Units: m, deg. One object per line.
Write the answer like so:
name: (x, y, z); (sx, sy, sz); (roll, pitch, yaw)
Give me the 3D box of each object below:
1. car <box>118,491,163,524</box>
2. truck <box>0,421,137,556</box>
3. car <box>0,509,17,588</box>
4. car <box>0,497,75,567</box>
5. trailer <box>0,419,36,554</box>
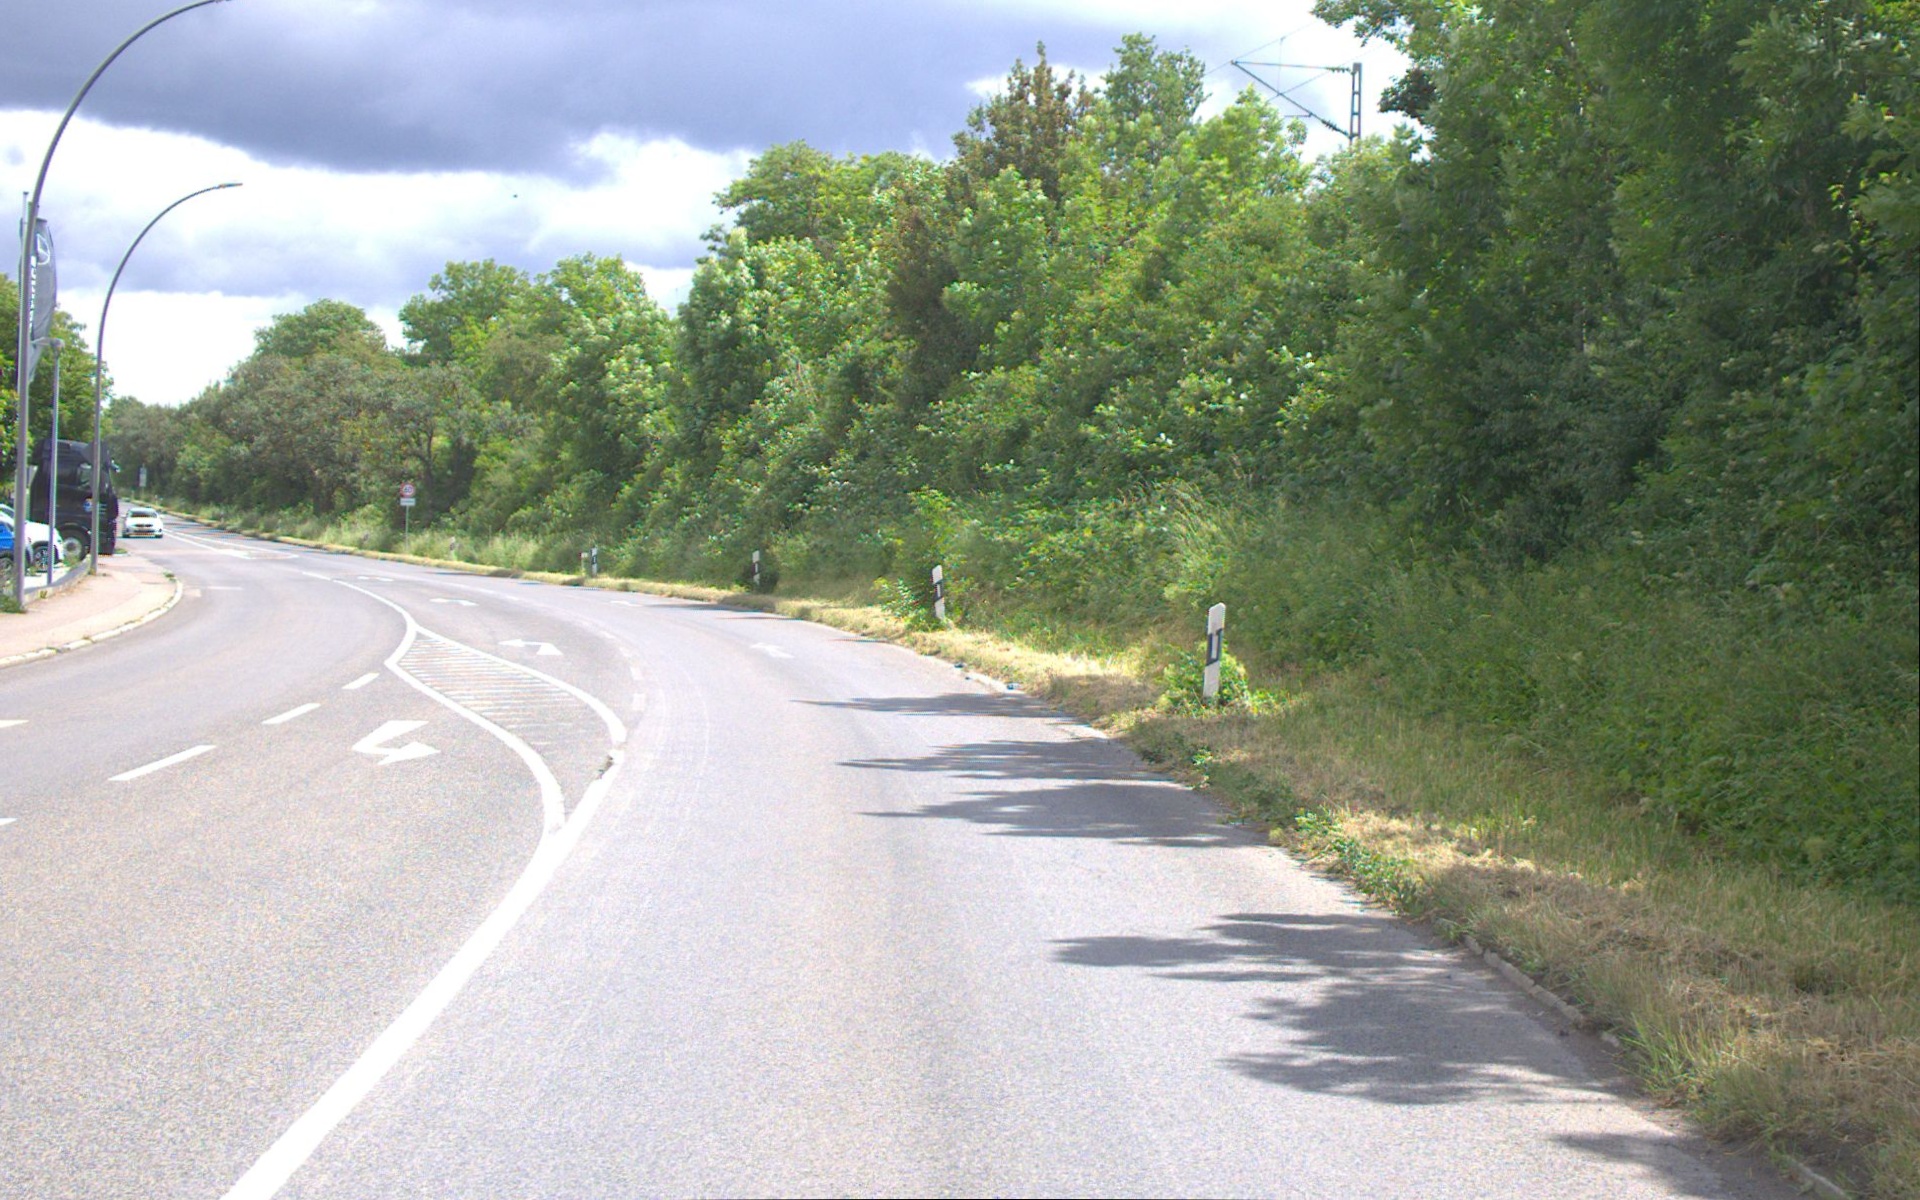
car: (-40.450, -4.545, 169.642); (1.993, 1.532, 4.001); (2, 1, -15)
truck: (-28.724, -3.439, 105.882); (6.117, 4.079, 2.826); (-1, 2, -26)
car: (-18.951, -0.990, 60.861); (4.196, 1.396, 1.658); (3, 1, 23)
car: (-25.194, -1.794, 88.223); (4.302, 1.757, 1.999); (1, 1, -43)
trailer: (-33.073, -3.430, 103.592); (9.721, 4.079, 2.826); (-1, 2, -28)
